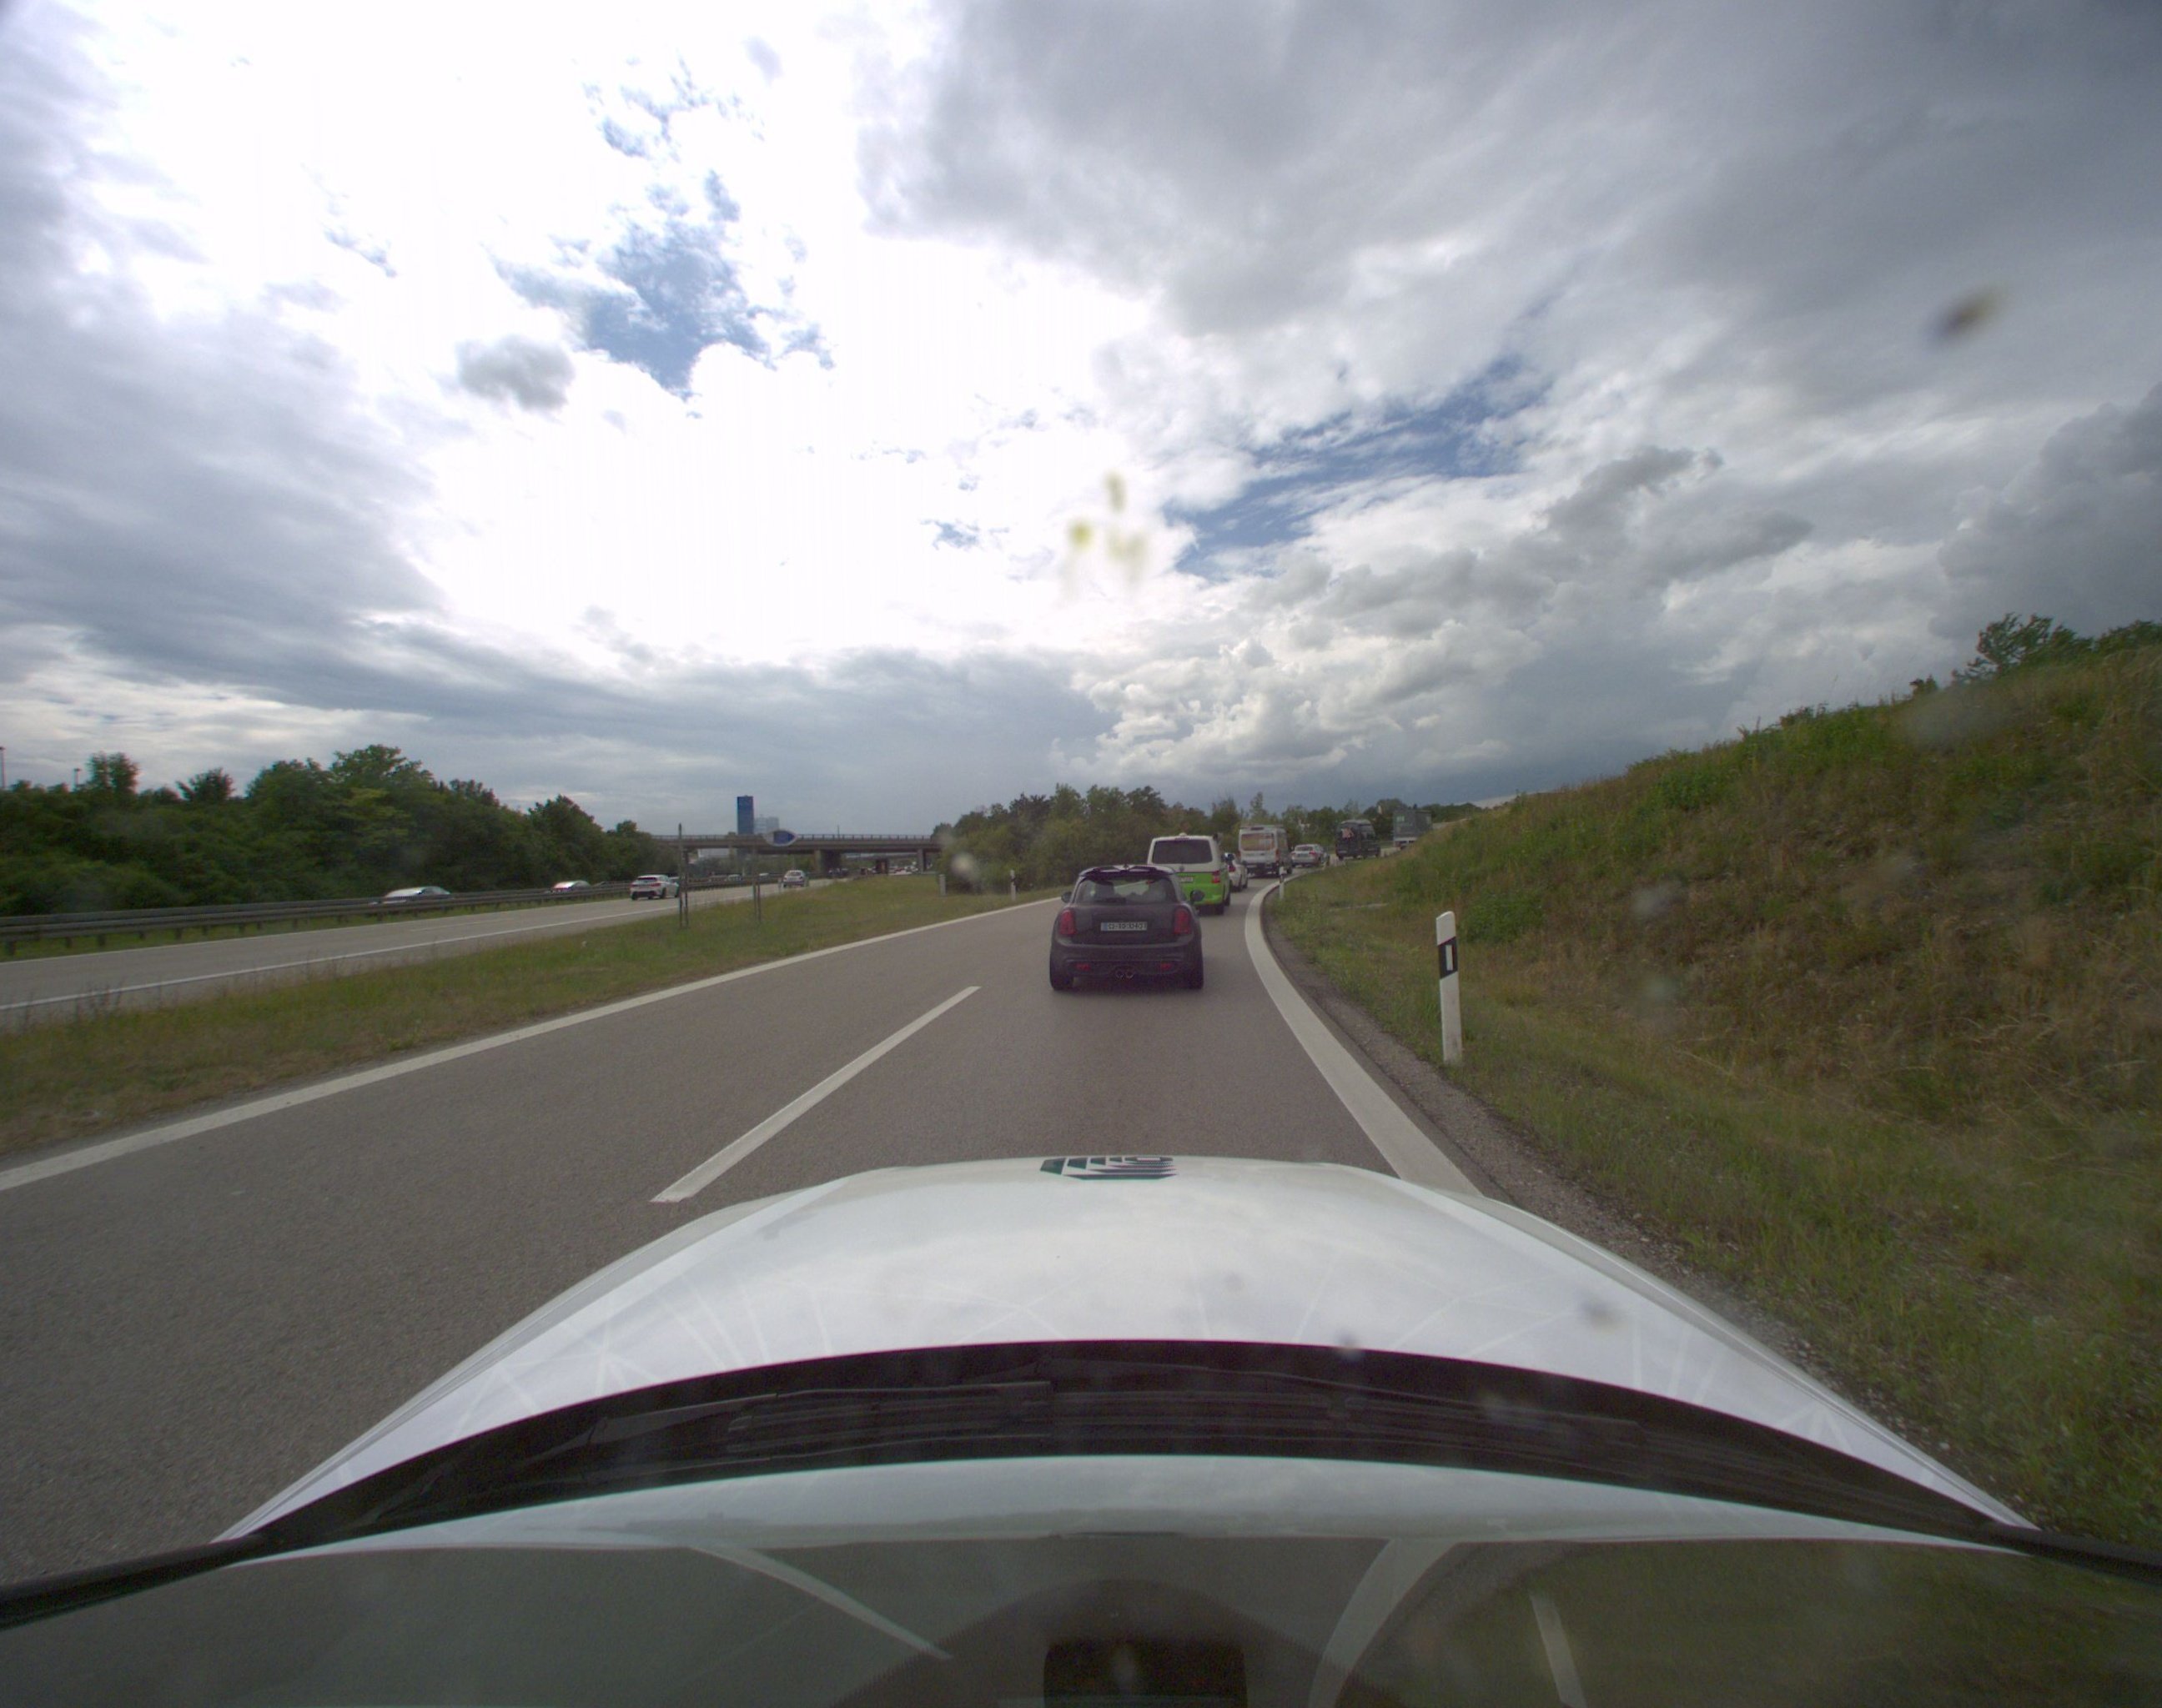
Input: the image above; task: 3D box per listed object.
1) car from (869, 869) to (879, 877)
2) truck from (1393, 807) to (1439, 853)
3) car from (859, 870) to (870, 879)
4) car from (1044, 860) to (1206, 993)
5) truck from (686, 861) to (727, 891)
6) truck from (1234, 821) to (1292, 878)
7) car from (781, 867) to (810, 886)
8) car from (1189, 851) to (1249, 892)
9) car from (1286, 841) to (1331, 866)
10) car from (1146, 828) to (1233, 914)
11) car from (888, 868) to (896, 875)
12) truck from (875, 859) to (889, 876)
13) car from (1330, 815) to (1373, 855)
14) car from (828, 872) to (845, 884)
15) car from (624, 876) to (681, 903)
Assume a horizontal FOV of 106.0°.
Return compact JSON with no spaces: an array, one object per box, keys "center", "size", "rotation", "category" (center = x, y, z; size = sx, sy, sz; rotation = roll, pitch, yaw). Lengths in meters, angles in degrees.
[{"center":[-49.531,4.573,194.623],"size":[1.994,1.810,3.986],"rotation":[-2,-1,-10],"category":"car"},{"center":[30.935,-2.148,75.117],"size":[2.207,3.907,6.053],"rotation":[-2,-2,40],"category":"truck"},{"center":[-47.193,4.400,177.366],"size":[1.846,1.758,4.320],"rotation":[-2,-1,-11],"category":"car"},{"center":[0.676,0.801,10.617],"size":[1.718,1.413,3.731],"rotation":[-1,-1,6],"category":"car"},{"center":[-48.844,2.877,106.455],"size":[2.759,3.646,8.168],"rotation":[-2,-1,-10],"category":"truck"},{"center":[9.286,-0.224,41.212],"size":[2.160,2.658,5.134],"rotation":[-2,0,19],"category":"truck"},{"center":[-25.267,1.972,72.102],"size":[1.717,1.519,3.986],"rotation":[-2,-1,-10],"category":"car"},{"center":[5.195,0.620,30.333],"size":[1.749,1.399,3.741],"rotation":[-2,-1,16],"category":"car"},{"center":[14.365,-0.020,51.301],"size":[1.848,1.510,4.024],"rotation":[-2,-1,29],"category":"car"},{"center":[2.902,0.424,21.094],"size":[1.771,2.014,4.015],"rotation":[-1,-1,14],"category":"car"},{"center":[-50.322,4.709,216.826],"size":[1.876,1.751,4.472],"rotation":[-2,-1,-9],"category":"car"},{"center":[-42.547,2.913,174.315],"size":[2.468,3.371,7.894],"rotation":[-3,-1,-10],"category":"truck"},{"center":[20.002,-1.378,60.156],"size":[2.084,2.796,4.025],"rotation":[-1,0,32],"category":"car"},{"center":[-38.974,3.819,129.902],"size":[1.994,1.743,4.812],"rotation":[-3,-1,-10],"category":"car"},{"center":[-25.774,2.085,49.177],"size":[1.837,1.453,4.361],"rotation":[-2,-1,-12],"category":"car"}]
